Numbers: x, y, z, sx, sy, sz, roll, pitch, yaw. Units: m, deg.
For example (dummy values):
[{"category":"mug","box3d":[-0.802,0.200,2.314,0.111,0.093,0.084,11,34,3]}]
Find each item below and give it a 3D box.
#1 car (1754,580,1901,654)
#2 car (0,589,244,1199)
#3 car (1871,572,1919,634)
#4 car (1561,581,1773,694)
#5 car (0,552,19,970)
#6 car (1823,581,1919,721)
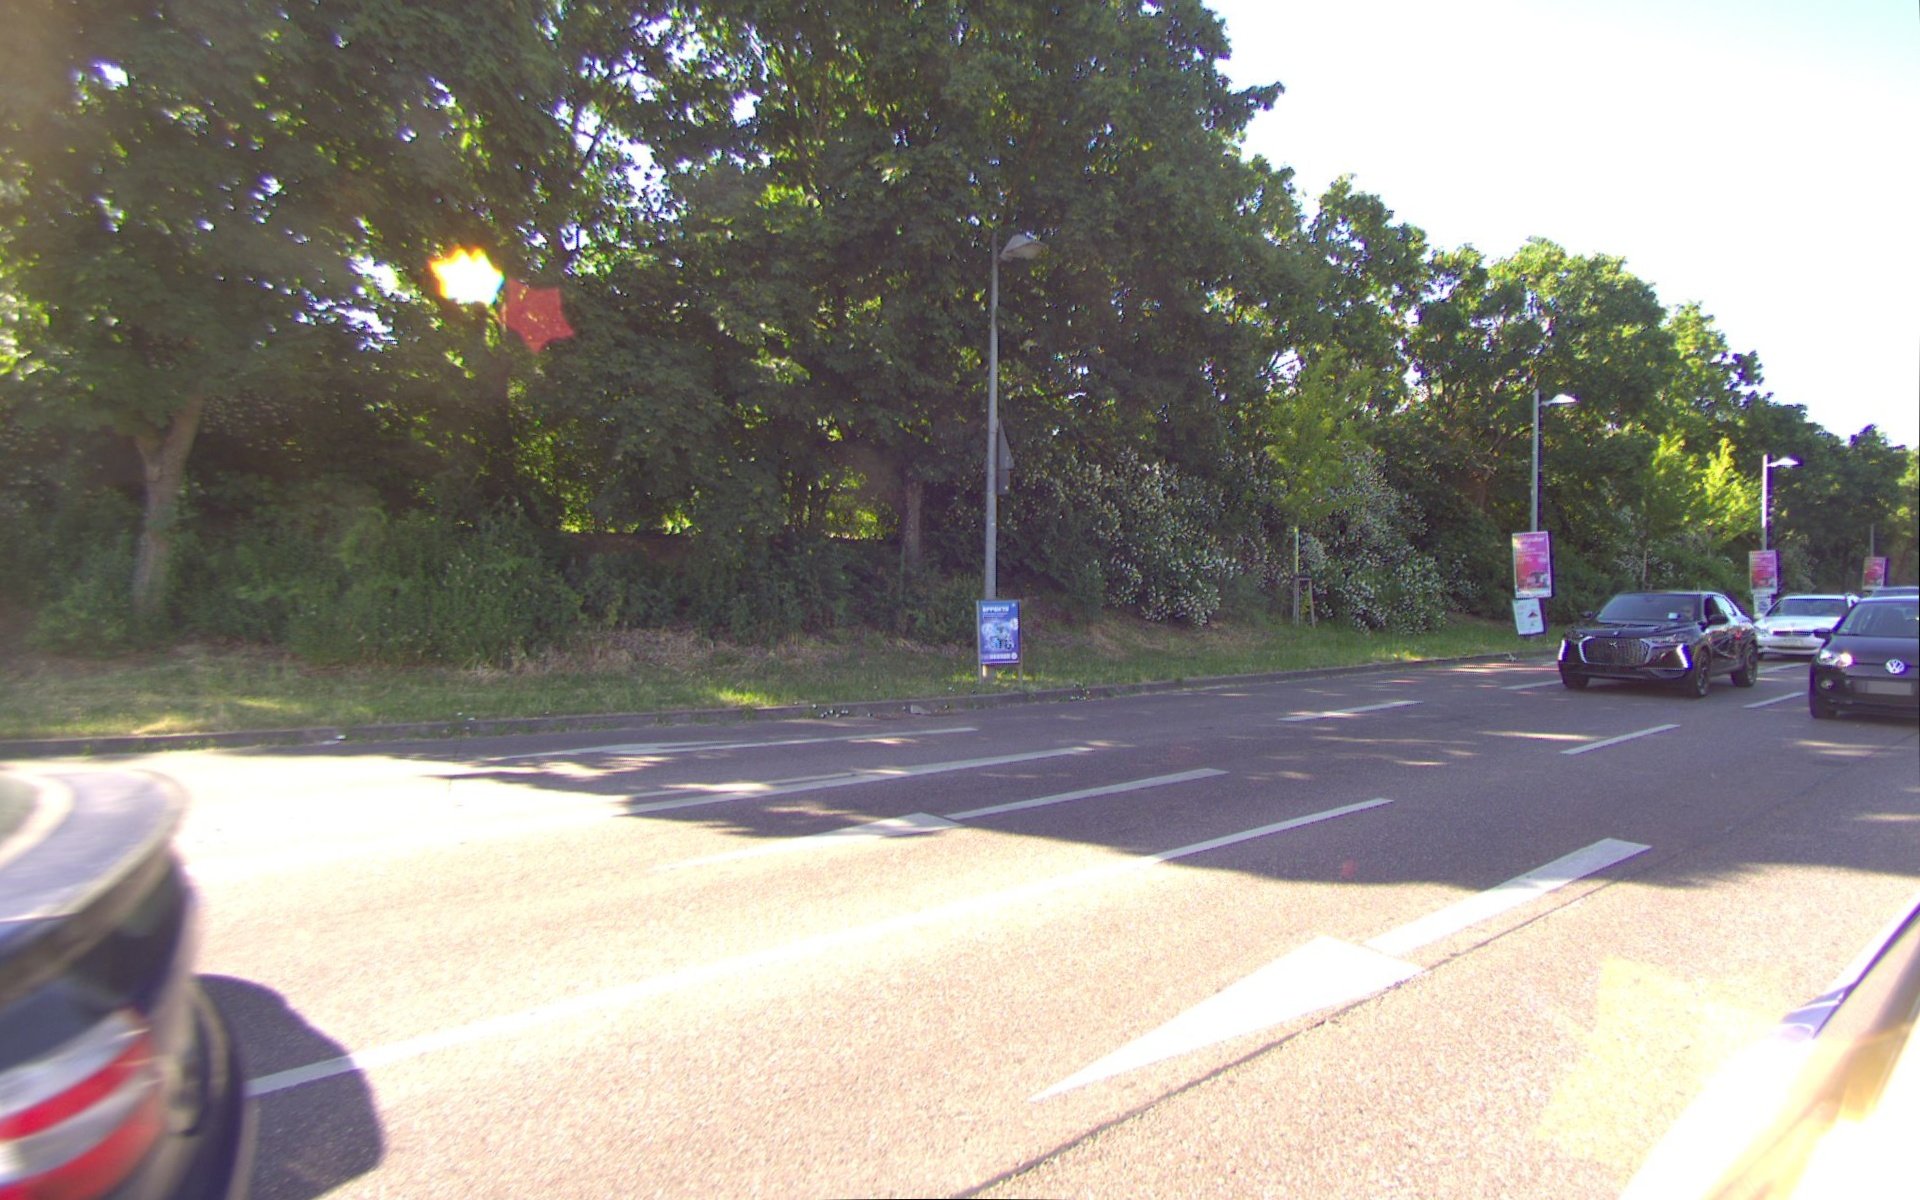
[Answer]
[{"category":"car","box3d":[19.179,0.311,22.318,4.308,1.454,1.748,-1,1,-39]},{"category":"car","box3d":[-2.887,0.734,0.547,3.978,1.437,1.722,-1,1,-40]},{"category":"car","box3d":[27.417,0.060,28.747,3.929,1.682,1.748,-1,2,-40]},{"category":"car","box3d":[10.895,0.464,15.503,3.893,1.512,1.713,-1,1,-40]},{"category":"car","box3d":[-5.014,0.609,2.325,4.064,1.536,1.725,-1,0,-40]},{"category":"car","box3d":[11.693,0.540,12.070,3.392,1.512,1.620,-1,1,-40]}]
